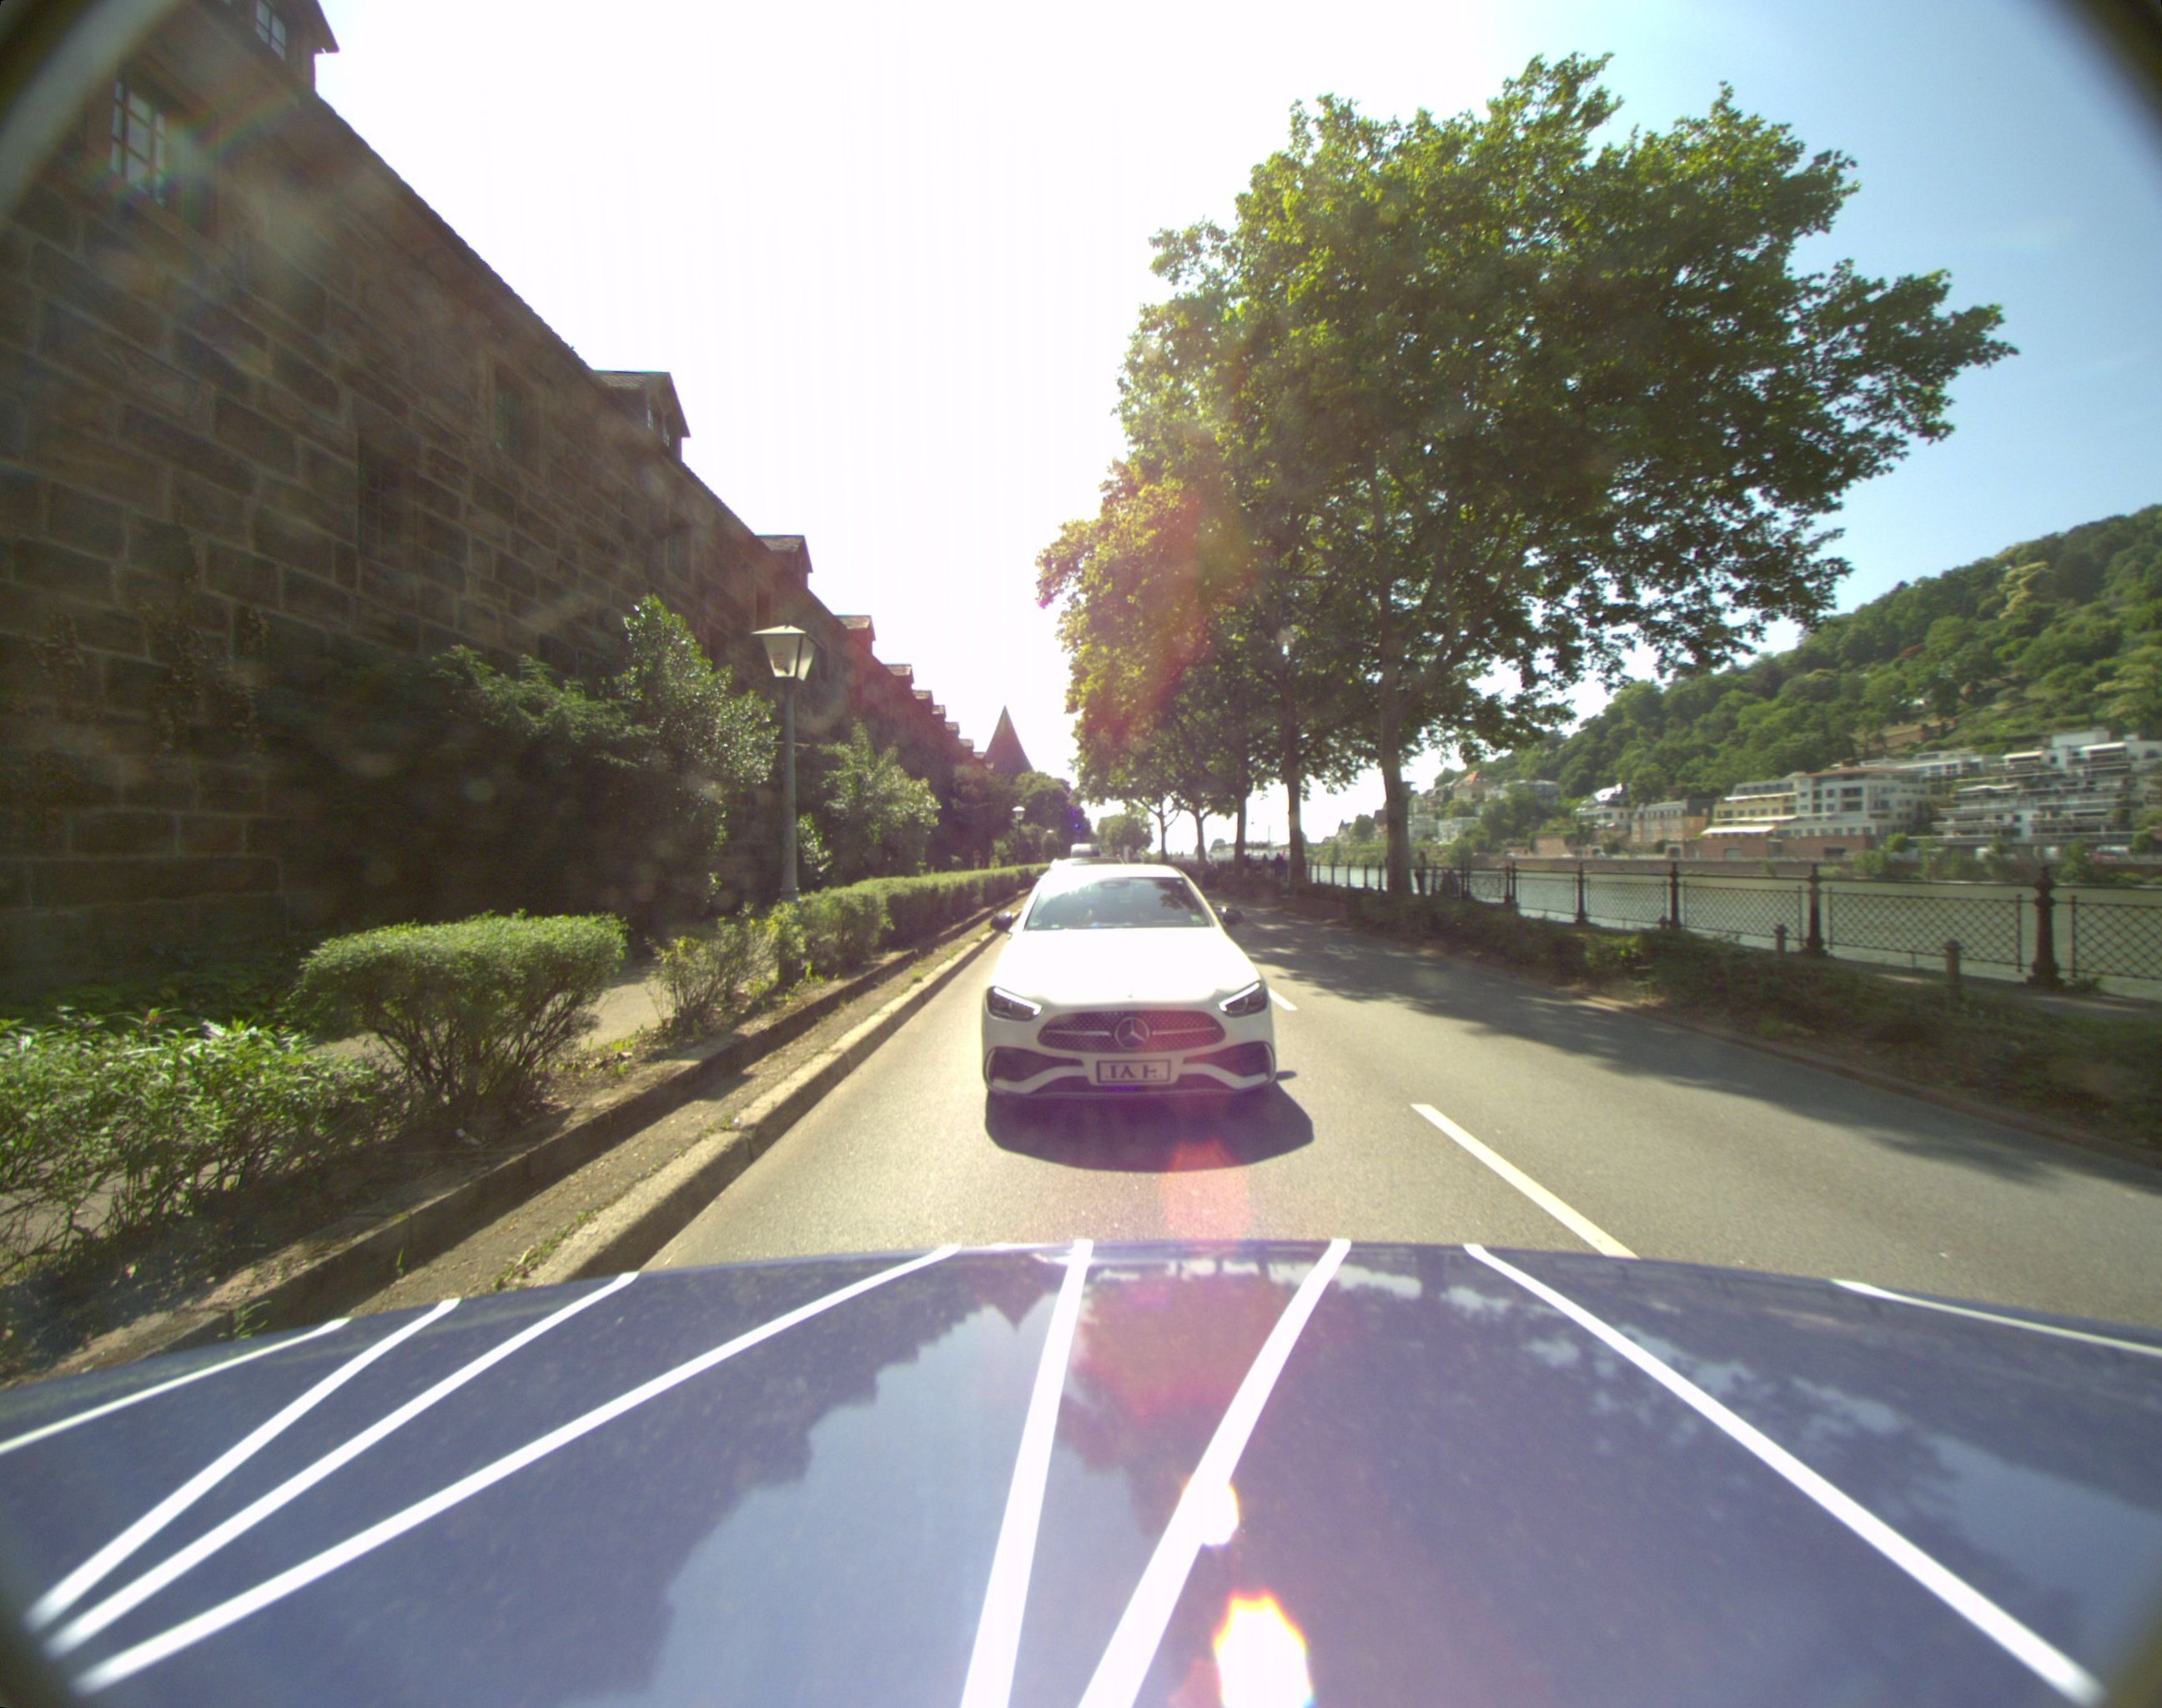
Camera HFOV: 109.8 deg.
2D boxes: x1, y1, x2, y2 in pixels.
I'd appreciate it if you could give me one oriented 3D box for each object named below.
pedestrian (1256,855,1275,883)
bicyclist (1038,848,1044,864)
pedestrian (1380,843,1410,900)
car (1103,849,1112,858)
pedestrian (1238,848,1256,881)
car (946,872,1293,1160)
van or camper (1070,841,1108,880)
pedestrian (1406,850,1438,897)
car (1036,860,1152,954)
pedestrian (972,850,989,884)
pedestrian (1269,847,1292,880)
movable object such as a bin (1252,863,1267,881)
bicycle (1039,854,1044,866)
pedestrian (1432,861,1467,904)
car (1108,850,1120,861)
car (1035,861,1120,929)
[{"bbox_3d":[10.892,0.880,44.896,0.897,1.625,1.059,-2,1,6],"label":"pedestrian"},{"bbox_3d":[-3.976,0.199,76.089,0.550,1.513,0.583,-2,1,-1],"label":"bicyclist"},{"bbox_3d":[10.613,0.586,25.710,0.767,1.889,0.771,1,1,8],"label":"pedestrian"},{"bbox_3d":[6.865,-0.130,197.791,2.165,2.002,4.000,-2,1,1],"label":"car"},{"bbox_3d":[9.758,0.612,44.687,0.806,1.839,0.929,-2,1,1],"label":"pedestrian"},{"bbox_3d":[0.236,0.931,6.245,1.833,1.395,4.270,-2,0,1],"label":"car"},{"bbox_3d":[0.477,0.400,49.750,2.313,2.358,5.035,1,0,0],"label":"van or camper"},{"bbox_3d":[12.847,0.713,28.662,0.777,1.748,0.830,1,1,0],"label":"pedestrian"},{"bbox_3d":[0.233,0.877,14.449,1.833,1.428,4.270,-2,0,1],"label":"car"},{"bbox_3d":[-4.678,0.598,35.322,0.643,1.555,0.563,-2,1,1],"label":"pedestrian"},{"bbox_3d":[12.282,0.596,46.852,1.047,2.002,1.036,-1,1,31],"label":"pedestrian"},{"bbox_3d":[10.788,1.074,45.967,0.703,1.043,0.783,-2,1,4],"label":"movable object such as a bin"},{"bbox_3d":[-3.914,0.592,75.986,0.406,1.169,1.576,-2,1,-2],"label":"bicycle"},{"bbox_3d":[11.925,0.909,24.610,0.768,1.379,0.770,1,0,0],"label":"pedestrian"},{"bbox_3d":[6.511,0.337,148.577,2.165,2.002,4.000,-2,1,1],"label":"car"},{"bbox_3d":[-0.052,0.935,19.011,1.833,1.395,4.424,-2,0,1],"label":"car"}]
